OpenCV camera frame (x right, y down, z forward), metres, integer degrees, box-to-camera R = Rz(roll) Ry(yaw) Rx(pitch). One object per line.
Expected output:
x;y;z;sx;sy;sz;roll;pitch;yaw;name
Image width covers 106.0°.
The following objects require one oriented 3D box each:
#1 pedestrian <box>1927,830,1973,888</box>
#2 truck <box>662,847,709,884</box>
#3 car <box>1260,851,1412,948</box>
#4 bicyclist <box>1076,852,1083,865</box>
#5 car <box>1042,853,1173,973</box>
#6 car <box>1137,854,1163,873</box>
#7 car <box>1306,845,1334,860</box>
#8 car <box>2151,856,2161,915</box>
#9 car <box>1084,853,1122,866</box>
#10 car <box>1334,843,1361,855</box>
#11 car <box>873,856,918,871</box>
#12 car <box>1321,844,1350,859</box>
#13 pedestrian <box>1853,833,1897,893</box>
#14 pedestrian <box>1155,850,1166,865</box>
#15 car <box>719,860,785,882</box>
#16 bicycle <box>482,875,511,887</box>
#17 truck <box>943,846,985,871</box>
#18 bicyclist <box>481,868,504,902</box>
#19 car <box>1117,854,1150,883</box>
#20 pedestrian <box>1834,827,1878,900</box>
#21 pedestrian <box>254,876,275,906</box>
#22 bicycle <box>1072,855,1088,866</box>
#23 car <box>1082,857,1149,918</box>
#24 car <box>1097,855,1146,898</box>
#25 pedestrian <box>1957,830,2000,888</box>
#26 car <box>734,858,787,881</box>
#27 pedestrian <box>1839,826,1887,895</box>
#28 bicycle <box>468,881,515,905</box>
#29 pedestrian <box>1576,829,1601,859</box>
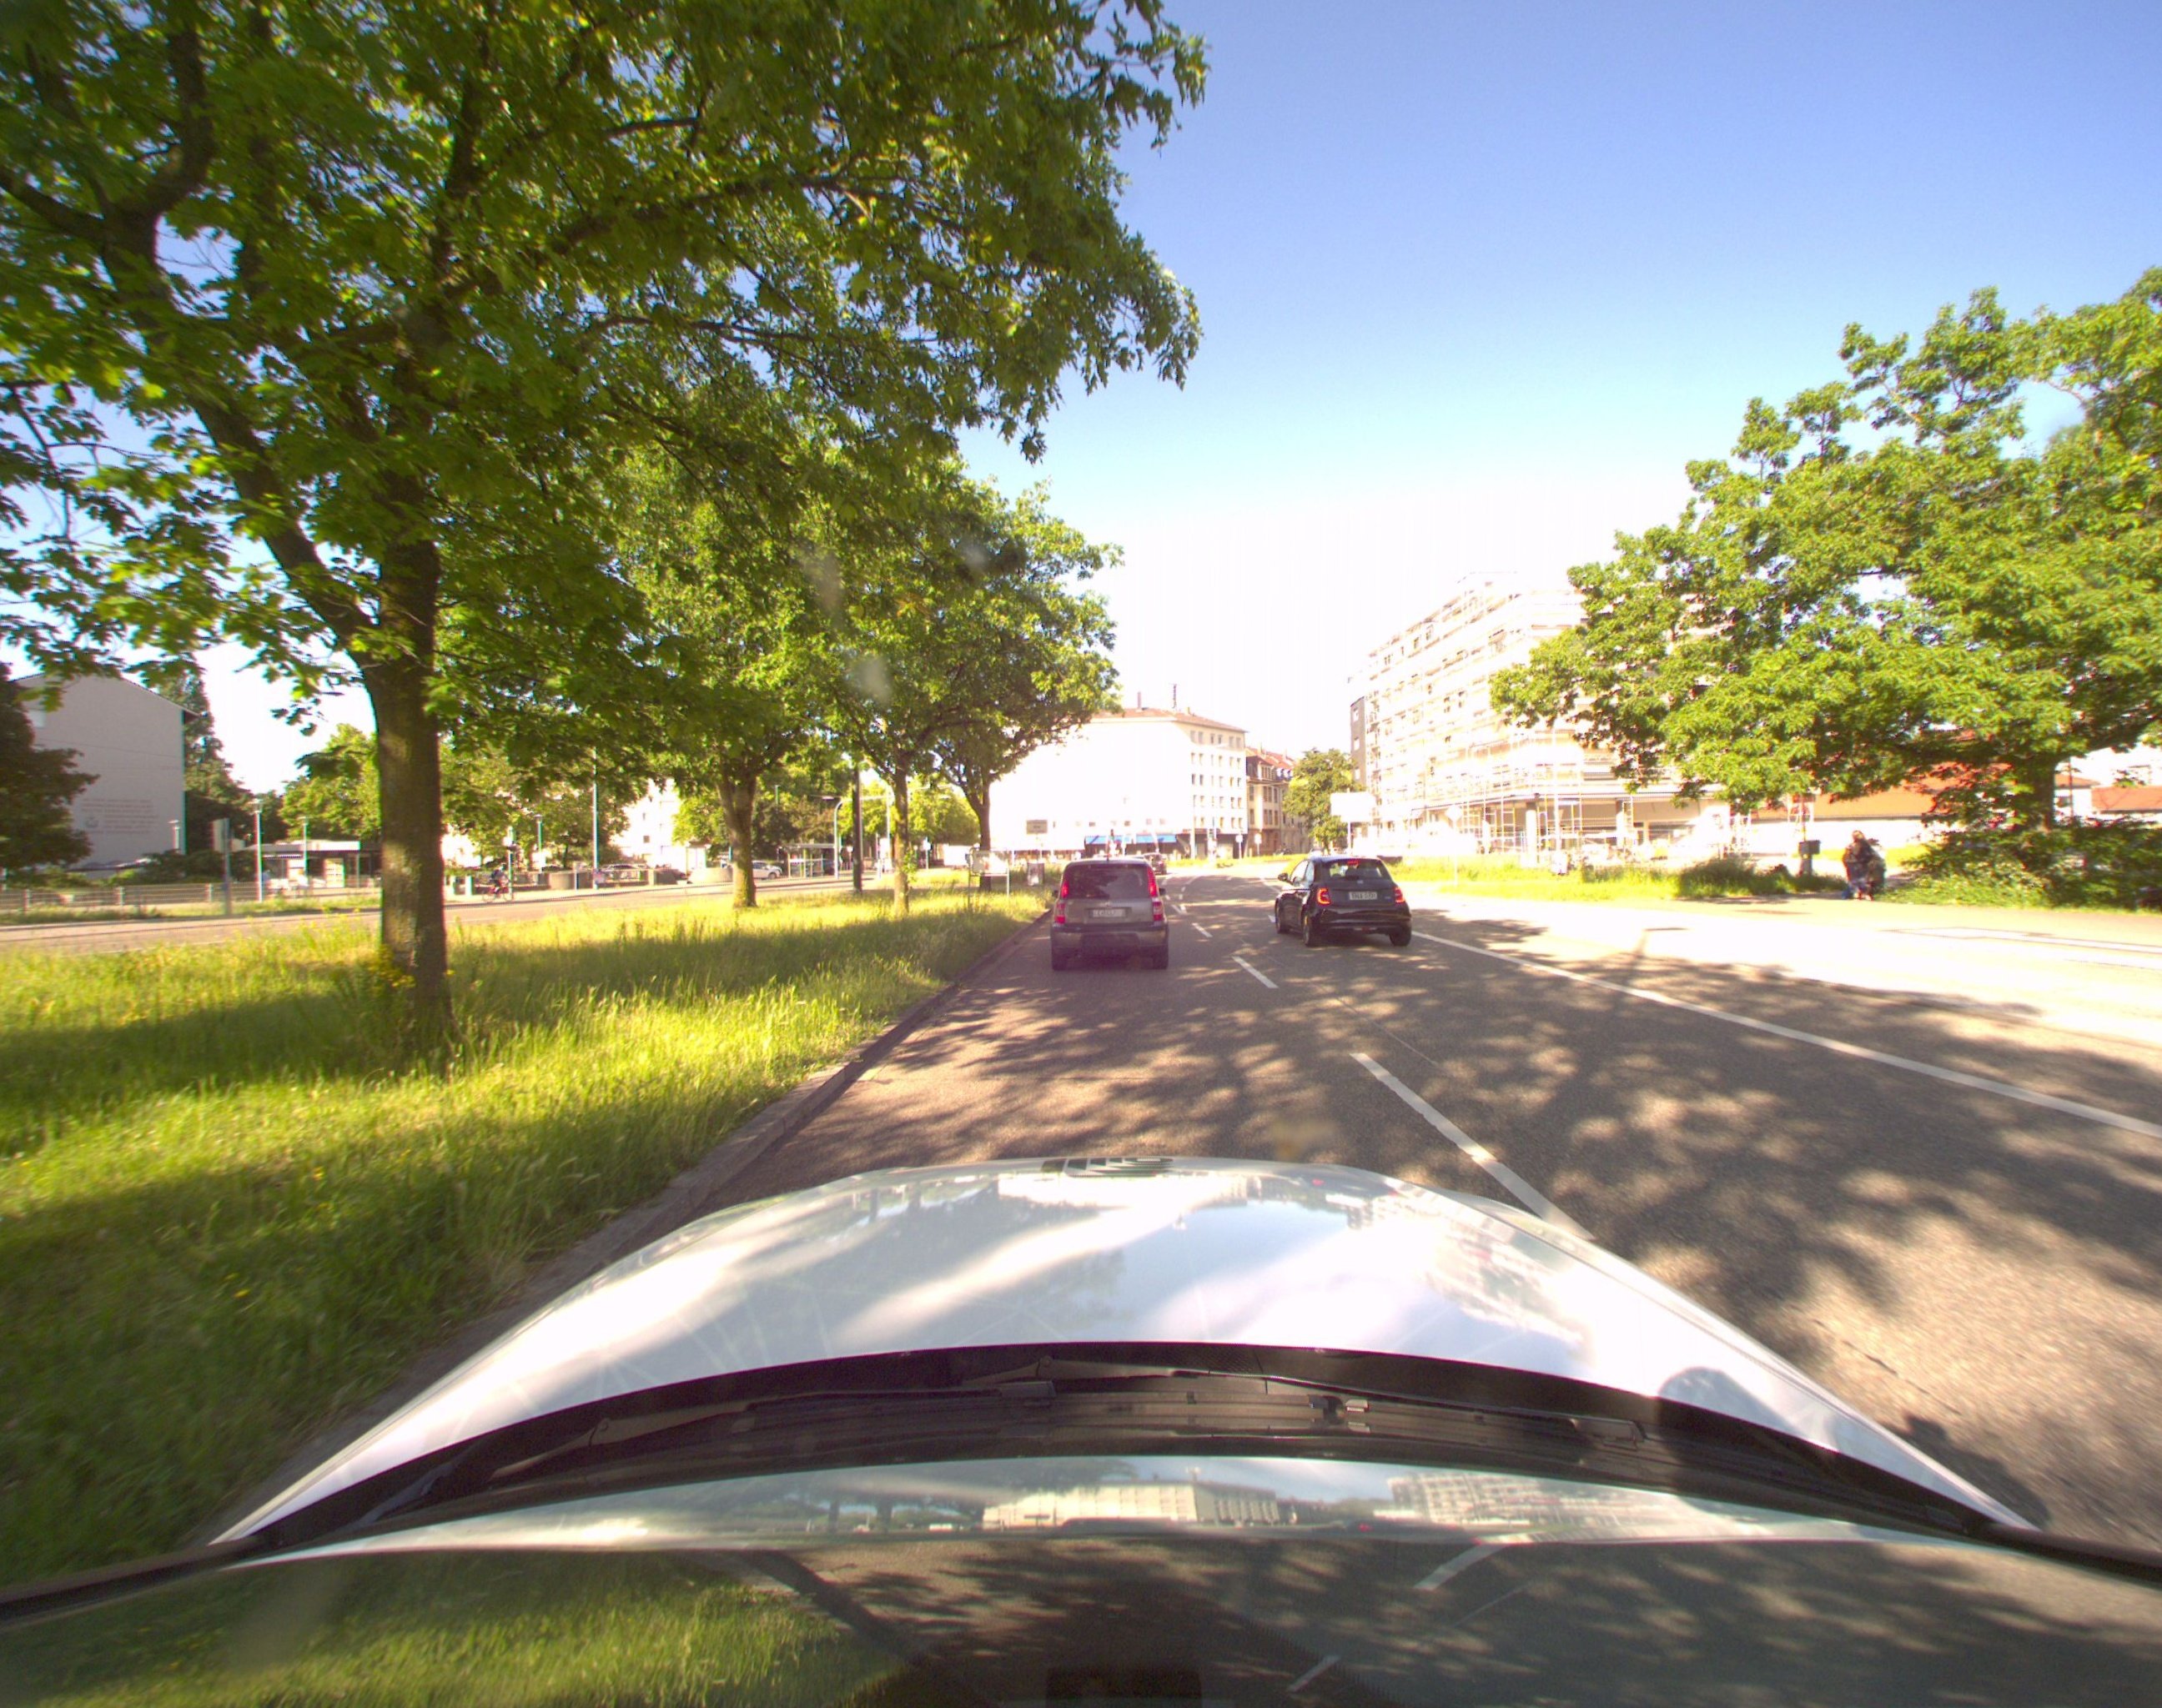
24.595;0.143;23.059;0.701;1.620;0.566;0;-1;-4;pedestrian
-33.575;0.915;69.041;4.768;2.994;2.012;0;1;44;truck
4.439;0.719;14.717;1.668;1.503;3.563;-1;0;1;car
-0.130;0.469;86.229;0.591;1.357;0.534;-1;0;18;bicyclist
0.444;0.759;12.138;1.653;1.510;3.254;-1;0;3;car
4.667;0.635;55.226;1.683;1.253;3.630;-1;-1;5;car
24.838;-0.164;84.550;1.757;1.442;3.642;-1;1;34;car
21.731;0.606;14.066;1.392;1.154;3.912;-1;0;1;car
2.114;0.527;78.981;2.006;1.243;3.962;-1;0;-29;car
37.632;-0.700;114.919;1.905;1.594;3.985;-2;0;-11;car
-19.376;0.954;85.050;4.380;1.448;1.666;-1;0;-5;car
27.700;-0.265;88.617;1.802;1.508;4.026;-2;0;35;car
20.693;0.235;21.237;0.525;1.518;0.614;-1;0;4;pedestrian
7.488;0.369;76.954;0.774;1.427;0.935;0;-1;-12;pedestrian
-26.773;1.358;66.382;1.849;1.544;4.576;2;3;45;car
-43.307;1.999;60.302;1.695;0.839;0.541;-1;0;-41;bicycle
-11.813;0.500;82.087;4.057;2.427;1.805;-1;0;37;truck
-27.701;1.459;38.335;0.606;1.530;0.680;0;1;34;bicyclist
2.820;0.731;43.671;1.639;1.438;3.399;-1;0;3;car
18.420;0.216;19.365;0.600;1.700;0.410;-1;0;1;pedestrian
-50.203;2.258;50.056;0.553;1.829;0.731;-1;0;23;pedestrian
-0.079;0.719;86.226;1.567;1.090;0.534;-1;0;18;bicycle
0.910;0.822;21.830;1.615;1.429;3.690;-1;0;2;car
1.520;0.813;31.753;1.753;1.486;4.295;-1;0;1;car
25.486;0.144;23.125;0.596;1.620;0.566;0;-1;-4;pedestrian
-27.354;1.316;69.612;1.741;1.717;4.025;2;2;29;car
19.013;0.158;19.811;0.619;1.634;0.552;-1;0;2;pedestrian
-27.717;1.810;38.317;0.606;1.001;1.669;0;2;34;bicycle
26.060;-0.496;41.854;0.649;1.497;0.907;-1;0;-6;pedestrian
